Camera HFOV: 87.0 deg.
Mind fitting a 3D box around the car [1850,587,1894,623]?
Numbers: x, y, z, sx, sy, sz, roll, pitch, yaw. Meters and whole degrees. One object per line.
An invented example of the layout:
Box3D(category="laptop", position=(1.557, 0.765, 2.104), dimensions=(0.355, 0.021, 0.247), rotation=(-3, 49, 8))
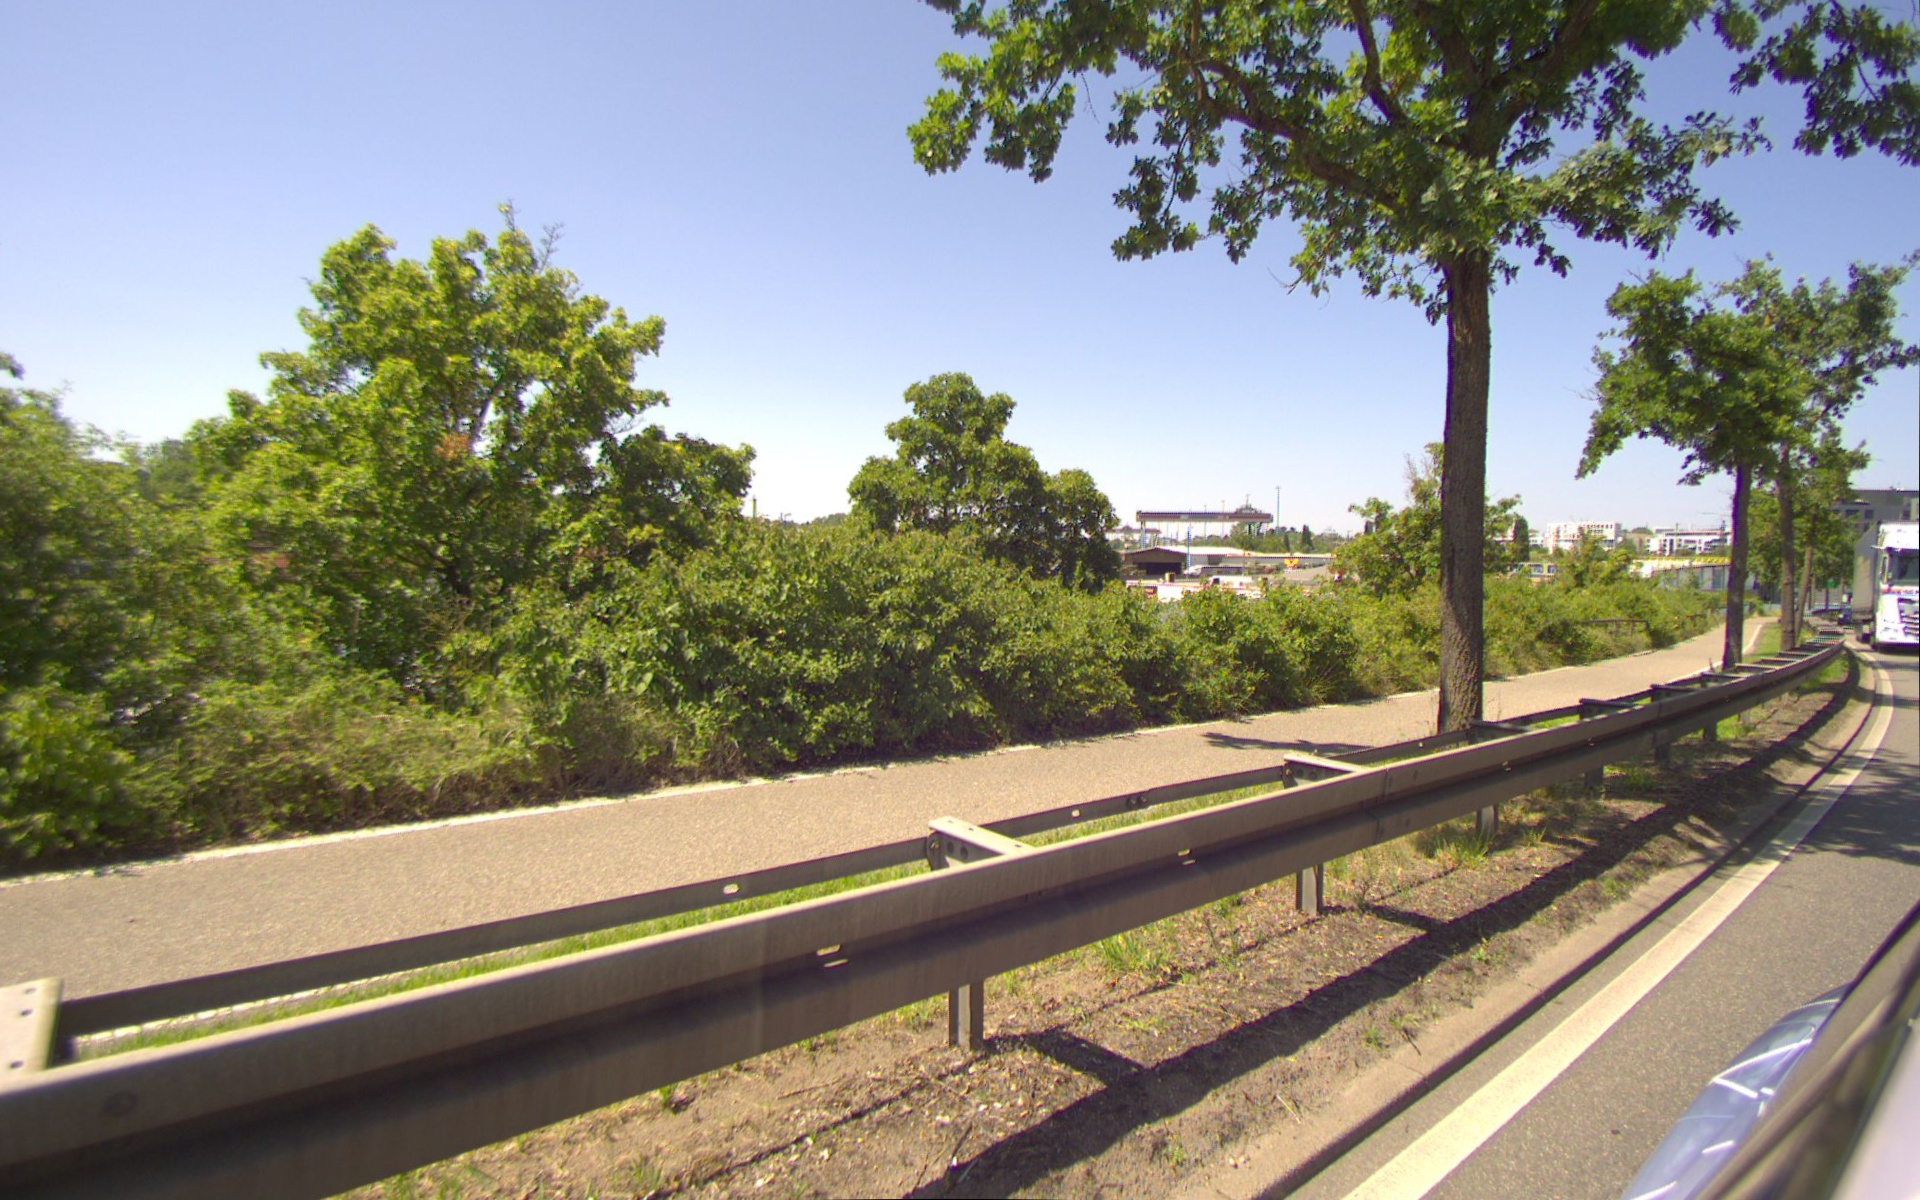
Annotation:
Box3D(category="car", position=(53.385, 0.278, 59.306), dimensions=(1.773, 2.039, 3.941), rotation=(0, 0, 40))

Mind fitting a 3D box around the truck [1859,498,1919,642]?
Box3D(category="truck", position=(33.834, -0.920, 35.446), dimensions=(3.059, 4.223, 16.665), rotation=(0, 0, 40))
